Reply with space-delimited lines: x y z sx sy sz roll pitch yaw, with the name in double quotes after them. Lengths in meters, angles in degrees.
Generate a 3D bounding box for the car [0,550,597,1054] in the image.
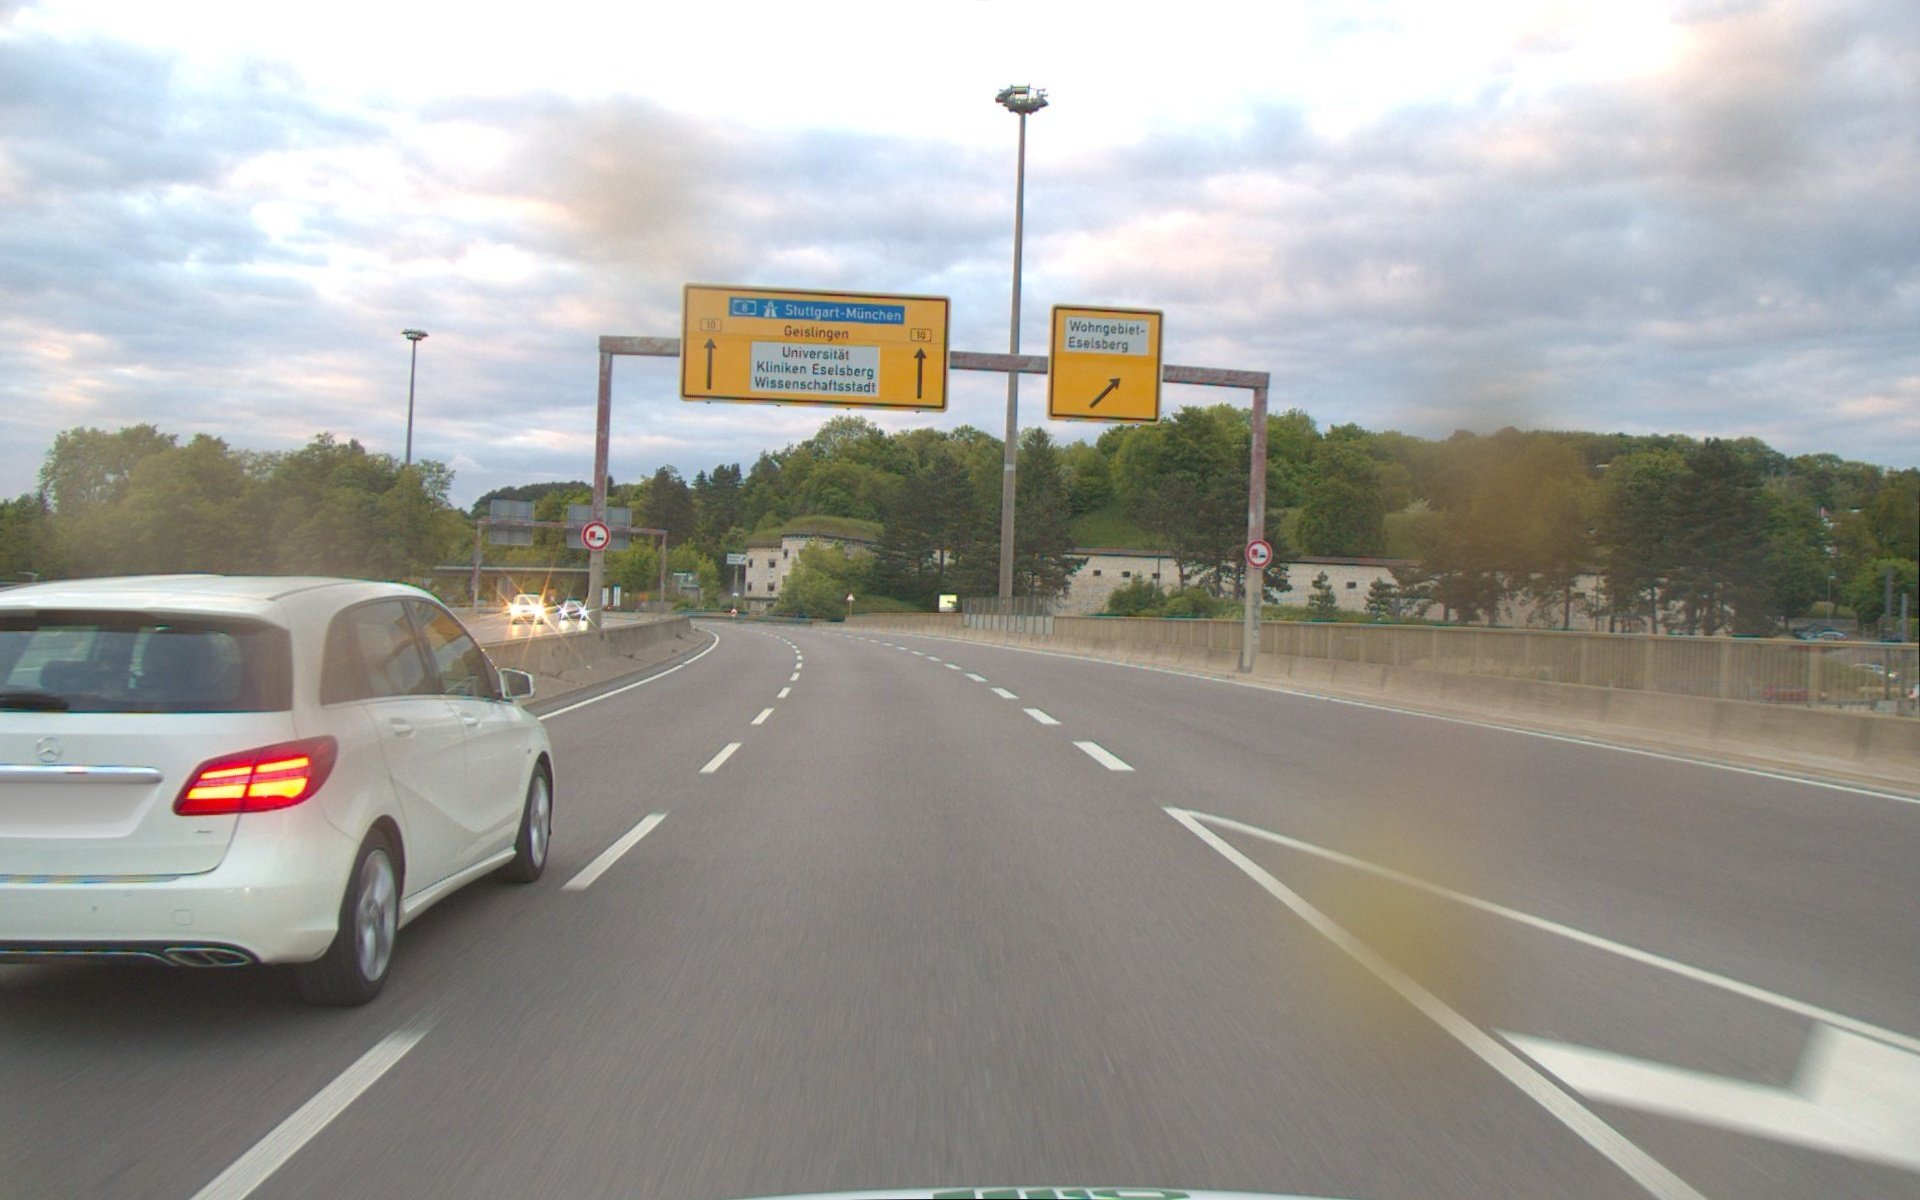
-2.945 0.672 7.553 1.657 1.564 4.781 1 -1 -2 "car"

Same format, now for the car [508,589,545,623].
-23.737 0.336 90.715 1.637 1.763 3.990 2 -1 -11 "car"

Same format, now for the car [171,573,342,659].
-13.261 0.285 31.443 1.697 1.502 4.219 1 0 -5 "car"

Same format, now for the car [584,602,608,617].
-48.413 1.284 220.165 1.972 1.870 3.959 3 -2 -30 "car"

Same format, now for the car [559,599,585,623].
-28.484 0.825 121.493 1.637 1.671 3.990 2 -1 -11 "car"
